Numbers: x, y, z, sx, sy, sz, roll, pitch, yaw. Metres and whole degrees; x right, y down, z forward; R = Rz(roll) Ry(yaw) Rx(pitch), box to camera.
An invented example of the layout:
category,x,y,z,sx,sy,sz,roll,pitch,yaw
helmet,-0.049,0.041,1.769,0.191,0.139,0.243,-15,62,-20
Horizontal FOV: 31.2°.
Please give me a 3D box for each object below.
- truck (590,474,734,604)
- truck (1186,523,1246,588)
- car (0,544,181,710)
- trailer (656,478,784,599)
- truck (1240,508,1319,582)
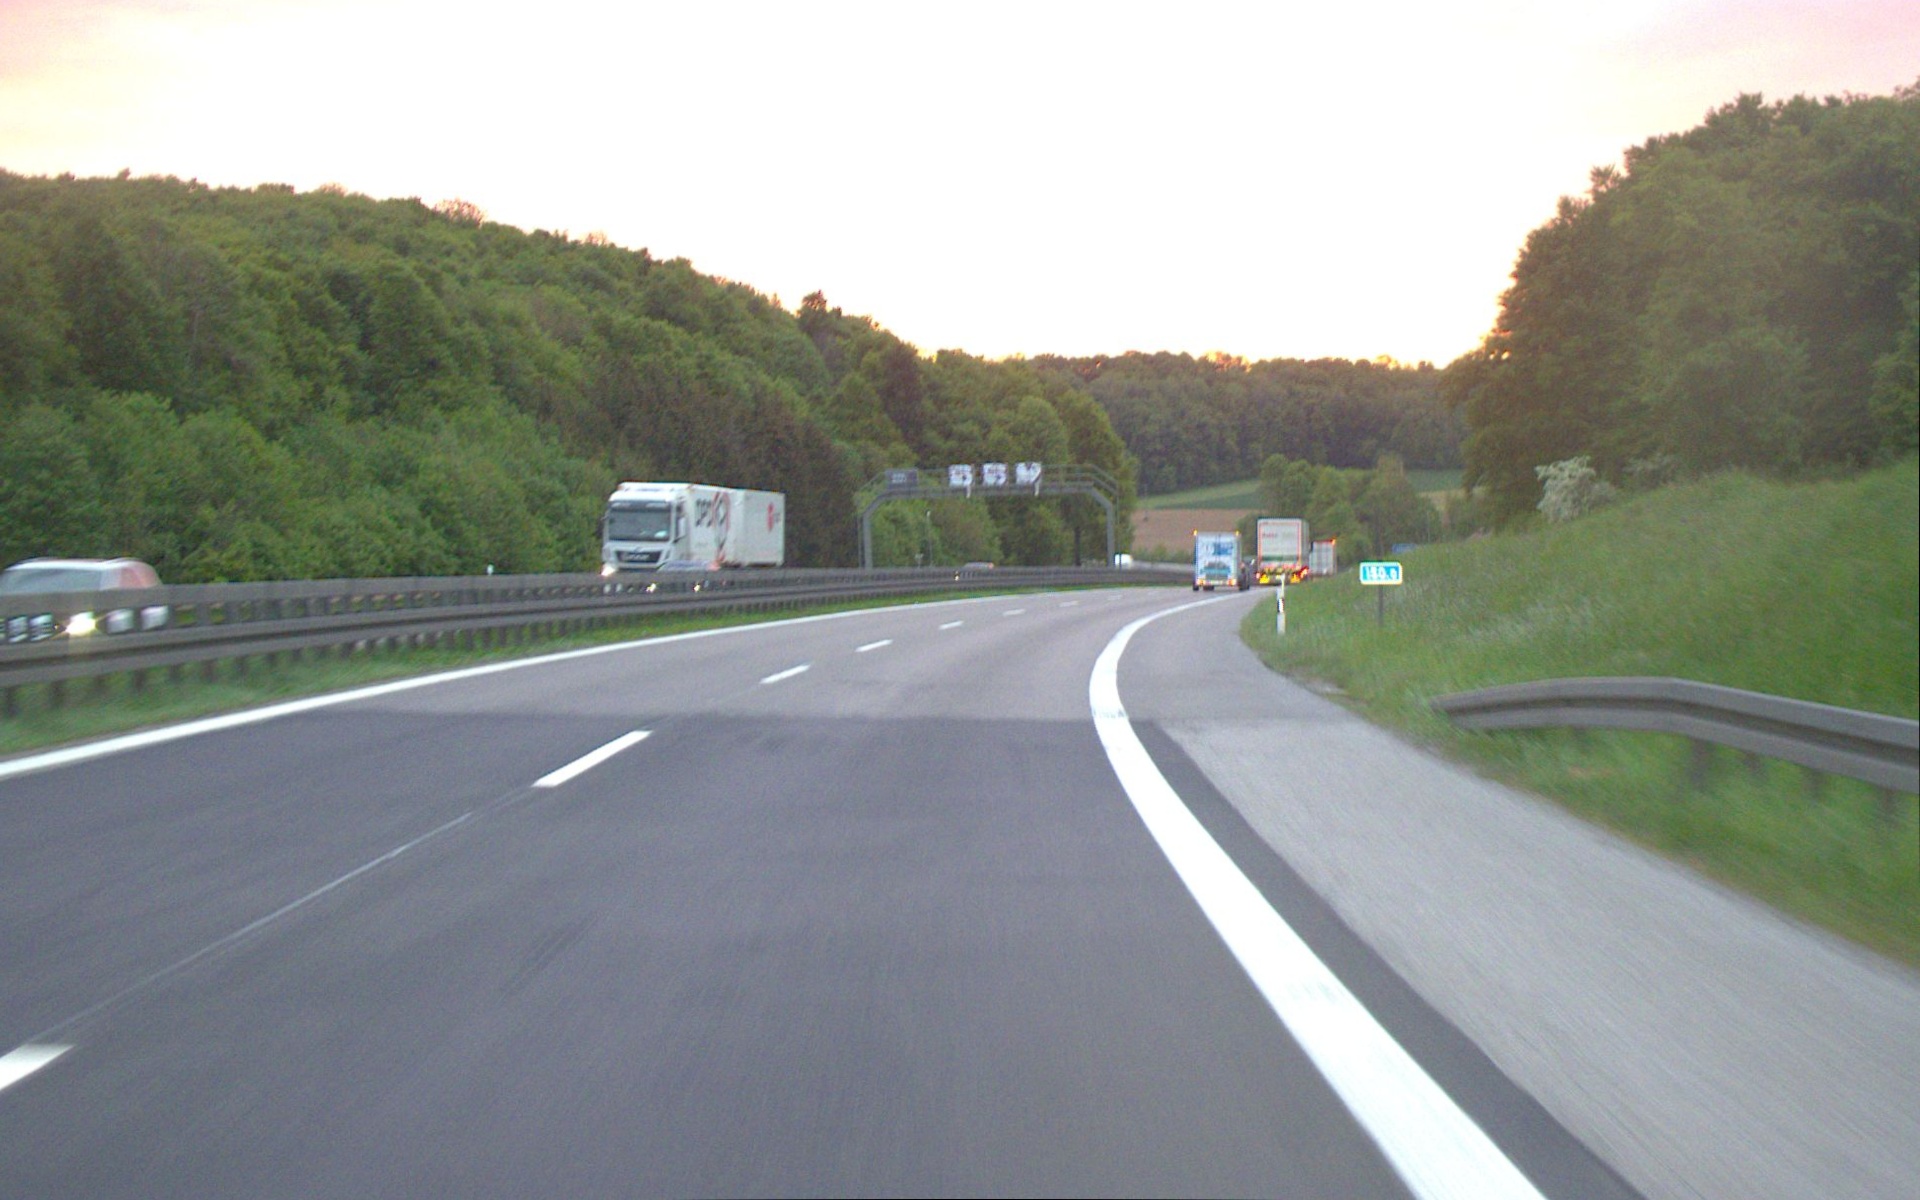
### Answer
category,x,y,z,sx,sy,sz,roll,pitch,yaw
truck,-10.110,-2.087,117.760,2.865,4.266,10.063,0,1,7
truck,11.608,-2.056,155.526,2.276,2.655,5.235,-2,3,8
car,-11.881,0.315,44.871,1.994,2.007,5.169,-2,1,3
trailer,-8.817,-2.276,127.363,2.832,4.302,9.290,0,1,8
truck,19.680,-3.452,210.745,3.959,4.272,14.319,-1,1,8
